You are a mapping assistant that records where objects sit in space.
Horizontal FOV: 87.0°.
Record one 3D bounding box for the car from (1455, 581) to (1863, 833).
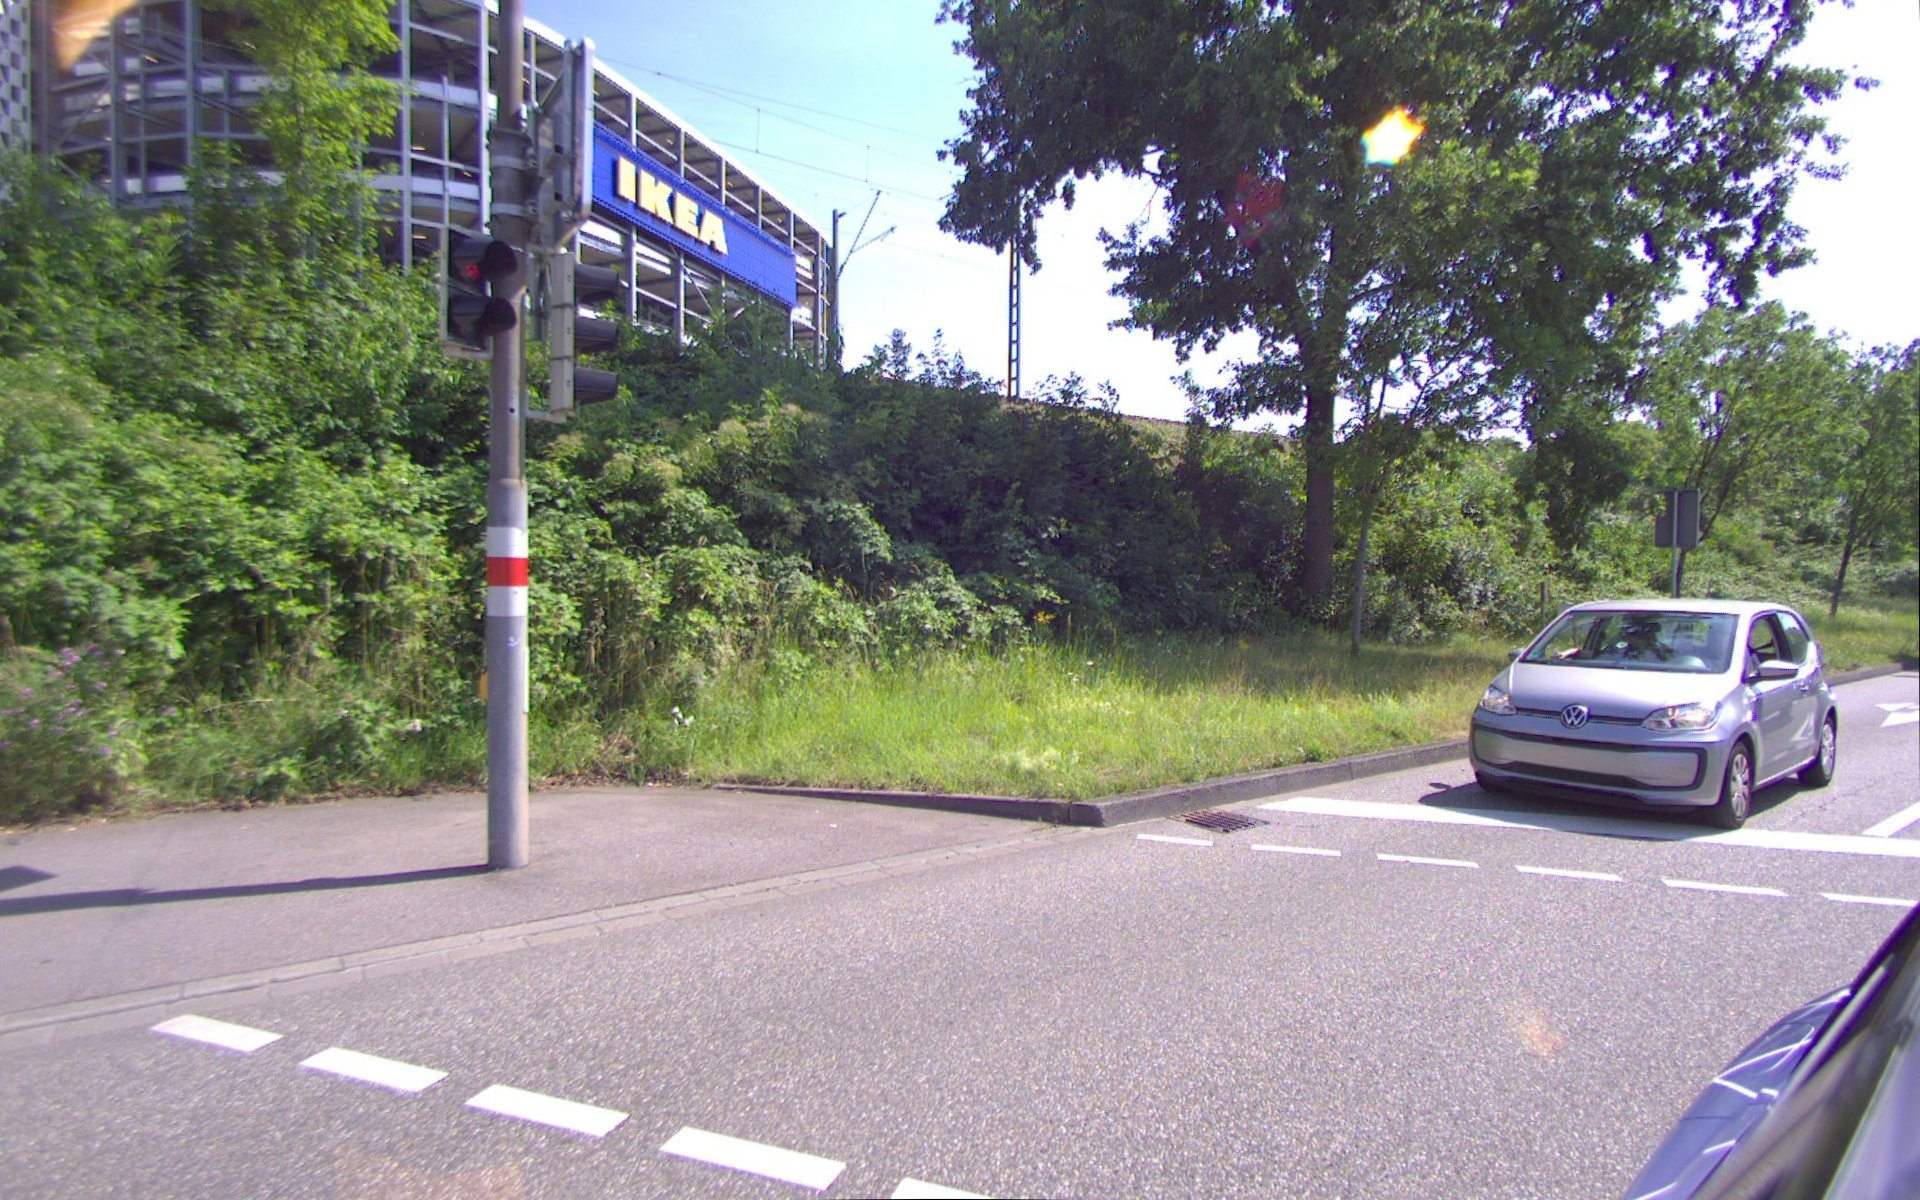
[{"bbox_3d":[5.447,0.603,7.730,3.614,1.455,1.703,-1,0,-41],"label":"car"}]
